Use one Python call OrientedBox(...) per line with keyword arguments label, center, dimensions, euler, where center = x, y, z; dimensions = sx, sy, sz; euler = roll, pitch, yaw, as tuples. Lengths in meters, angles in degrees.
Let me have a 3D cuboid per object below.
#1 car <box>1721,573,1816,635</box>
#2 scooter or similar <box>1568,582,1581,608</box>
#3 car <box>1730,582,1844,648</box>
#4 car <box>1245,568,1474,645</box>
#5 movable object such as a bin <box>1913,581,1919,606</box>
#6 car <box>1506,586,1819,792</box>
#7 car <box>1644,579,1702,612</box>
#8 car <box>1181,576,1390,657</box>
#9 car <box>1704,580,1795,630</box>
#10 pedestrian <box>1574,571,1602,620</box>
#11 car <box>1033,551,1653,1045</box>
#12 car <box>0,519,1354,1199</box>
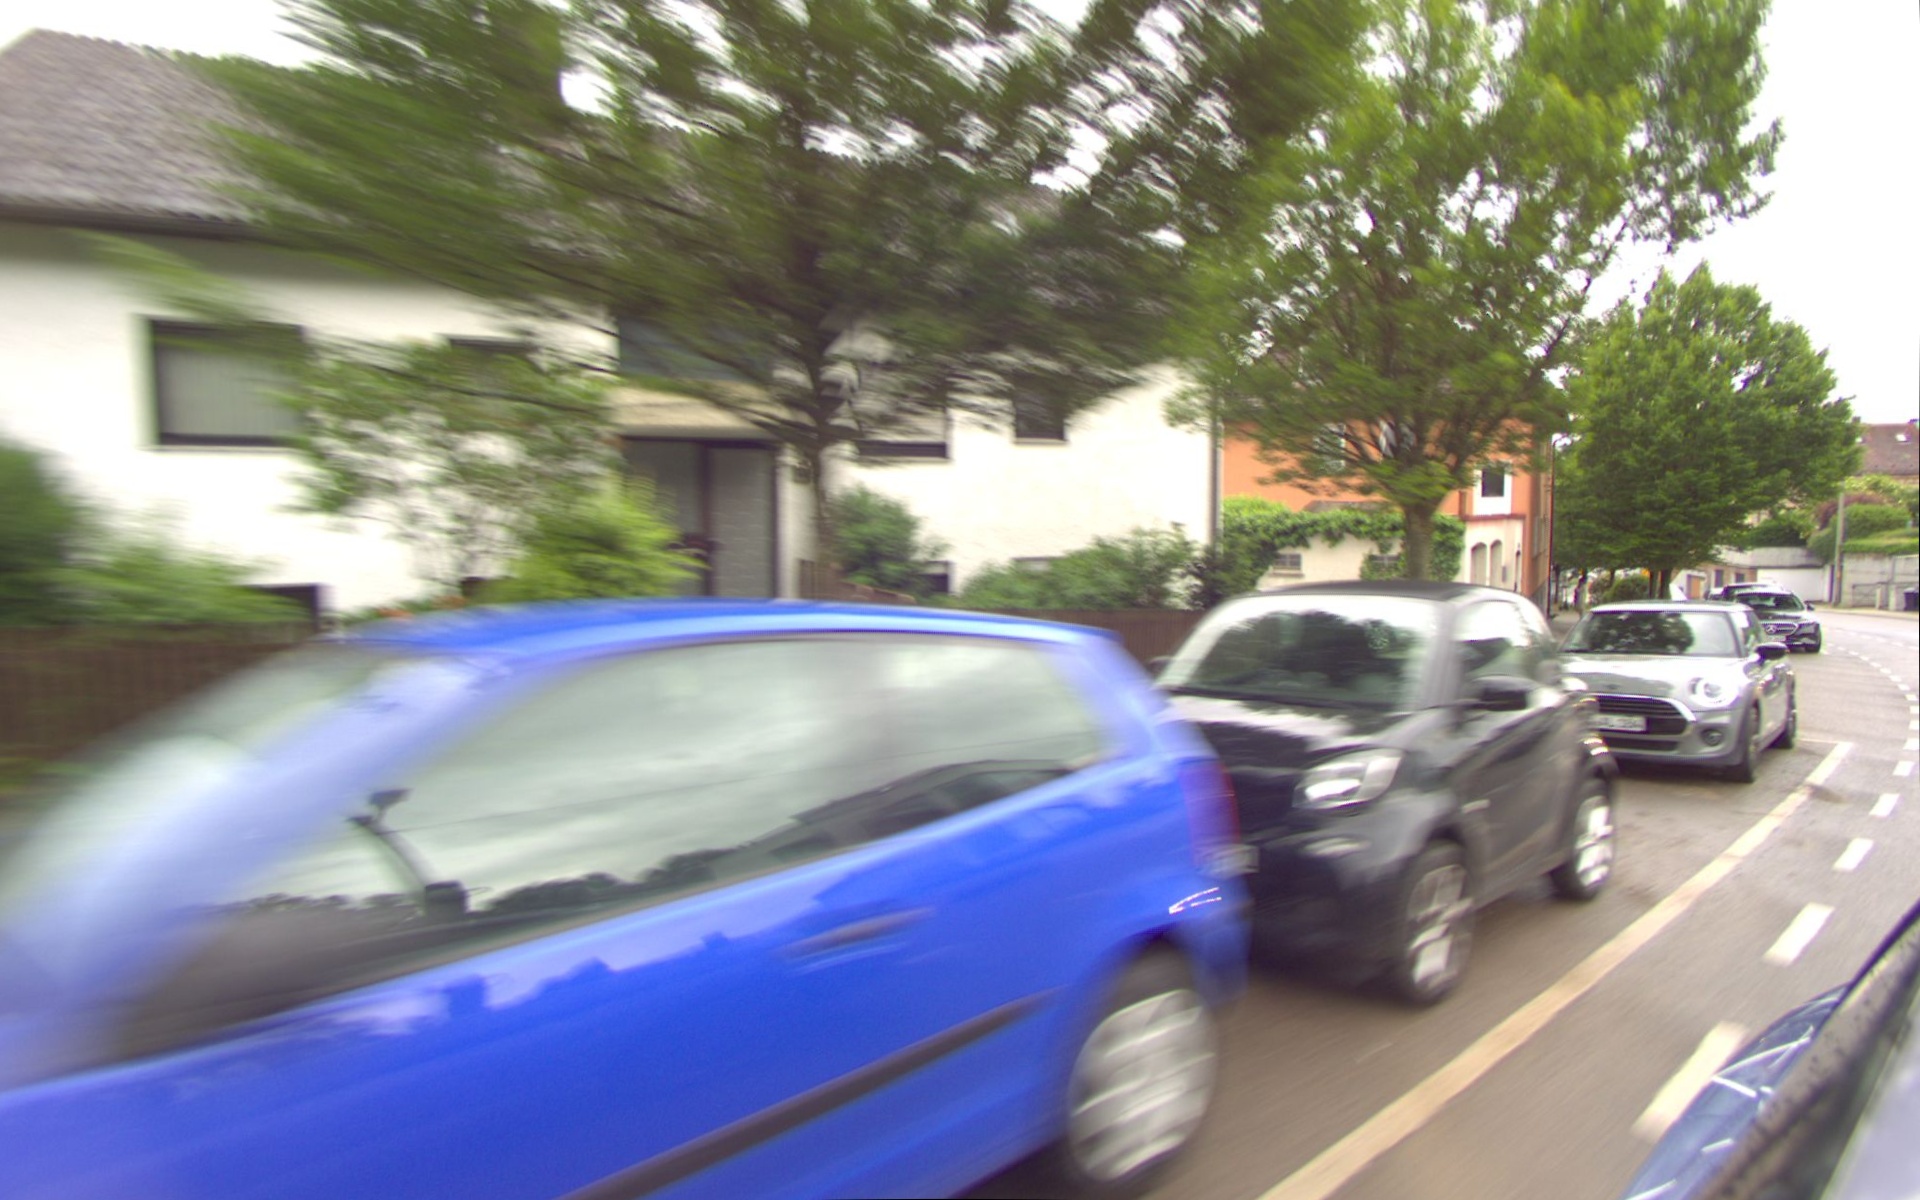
OrientedBox(label="car", center=(24.069, 0.043, 30.214), dimensions=(2.050, 1.677, 5.163), euler=(1, 2, 38))
OrientedBox(label="scooter or similar", center=(31.172, -0.261, 51.323), dimensions=(0.410, 1.260, 1.165), euler=(1, 1, 25))
OrientedBox(label="car", center=(20.734, 0.315, 25.555), dimensions=(1.856, 1.488, 4.991), euler=(-2, 0, 36))
OrientedBox(label="car", center=(8.748, 0.137, 22.436), dimensions=(1.903, 1.483, 4.306), euler=(-4, 2, -43))
OrientedBox(label="movable object such as a bin", center=(45.354, -0.296, 47.647), dimensions=(0.589, 1.160, 0.530), euler=(-2, 1, -24))
OrientedBox(label="car", center=(6.535, 0.638, 9.267), dimensions=(3.649, 1.489, 1.669), euler=(-1, 0, -44))
OrientedBox(label="car", center=(34.207, -0.250, 48.649), dimensions=(1.645, 1.508, 3.964), euler=(-1, 0, 26))
OrientedBox(label="car", center=(6.598, 0.336, 20.773), dimensions=(1.748, 1.484, 3.684), euler=(-2, 0, -42))
OrientedBox(label="car", center=(27.257, 0.113, 35.093), dimensions=(1.845, 1.600, 4.806), euler=(1, 1, 30))
OrientedBox(label="pedestrian", center=(23.173, -0.189, 37.384), dimensions=(0.757, 1.741, 0.893), euler=(4, 2, 31))
OrientedBox(label="car", center=(1.955, 0.610, 4.850), dimensions=(2.971, 1.582, 1.629), euler=(-1, 1, -42))
OrientedBox(label="car", center=(-0.809, 0.670, 2.413), dimensions=(3.931, 1.538, 1.657), euler=(0, 0, -42))
